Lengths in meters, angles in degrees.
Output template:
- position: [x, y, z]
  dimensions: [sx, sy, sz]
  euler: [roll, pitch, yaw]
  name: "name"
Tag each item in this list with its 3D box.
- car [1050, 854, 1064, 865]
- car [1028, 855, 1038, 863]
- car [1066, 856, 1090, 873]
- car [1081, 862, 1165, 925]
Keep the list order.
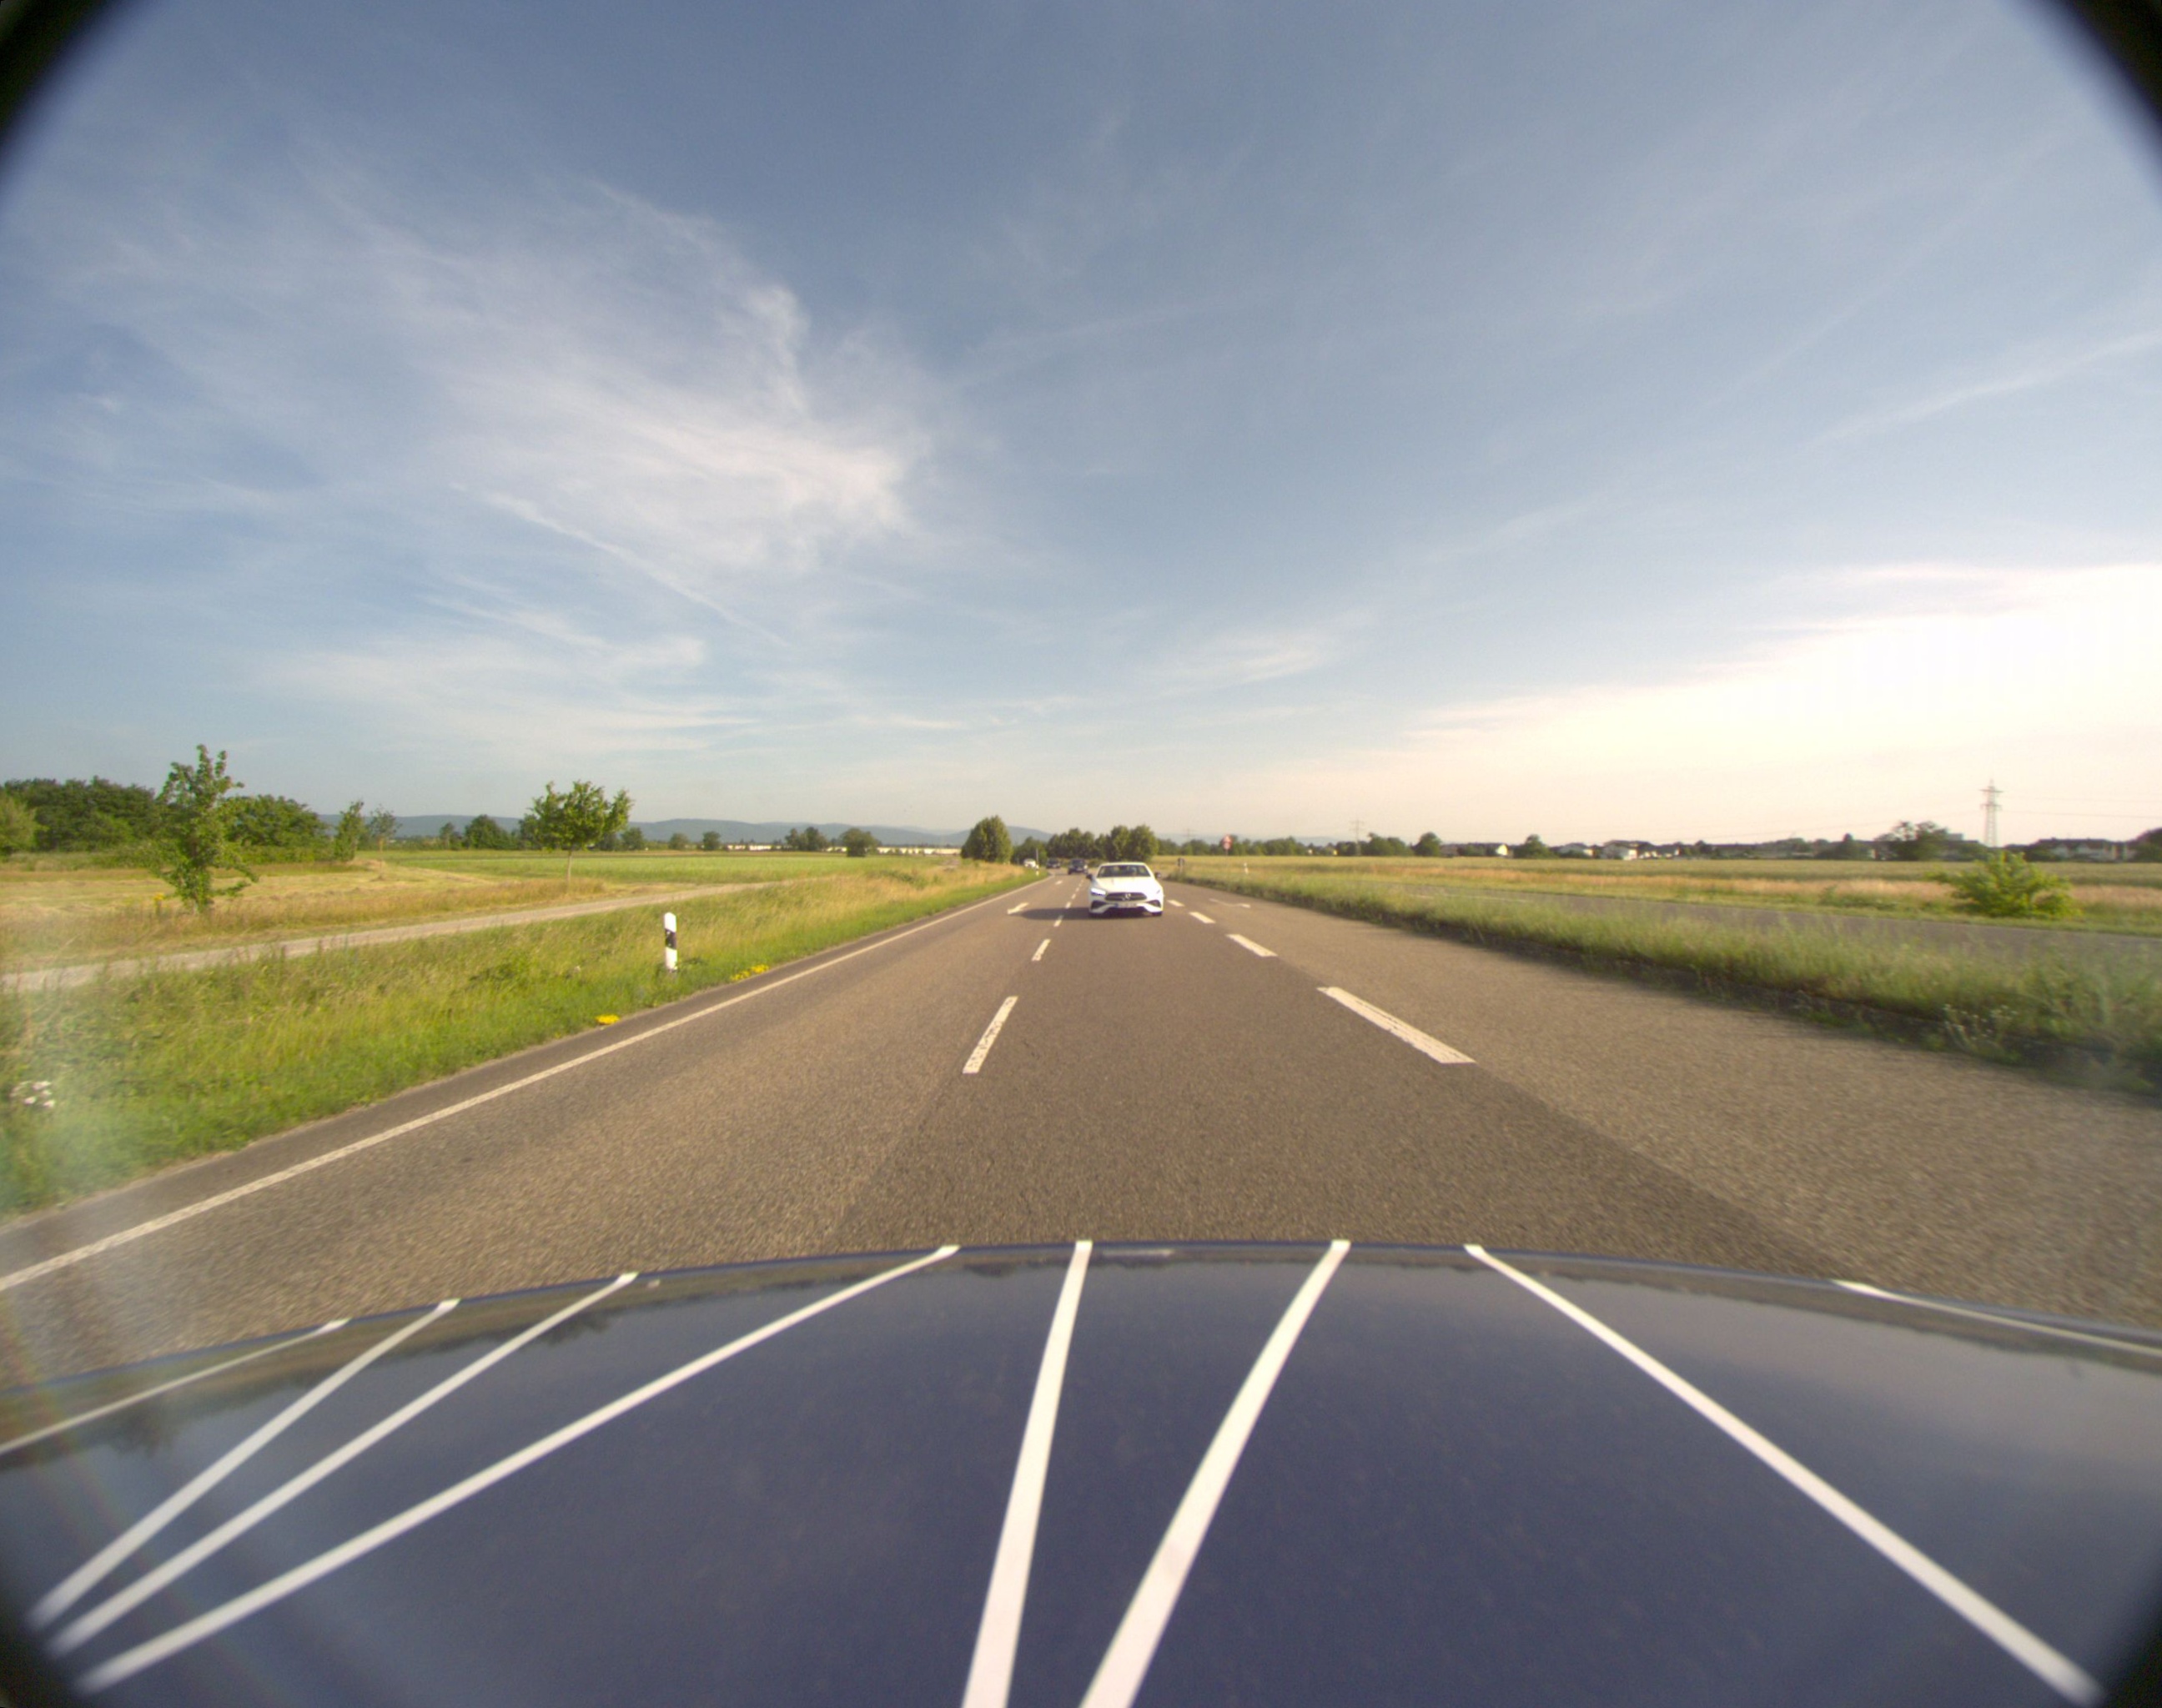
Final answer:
- position: [-3.497, 0.744, 110.338]
  dimensions: [1.558, 1.550, 3.046]
  euler: [-1, 0, -9]
  name: "car"
- position: [-9.060, 0.990, 143.096]
  dimensions: [1.558, 1.392, 4.032]
  euler: [-1, 0, -9]
  name: "car"
- position: [-0.294, 0.926, 70.772]
  dimensions: [1.586, 1.496, 3.658]
  euler: [-1, 0, -9]
  name: "car"
- position: [1.147, 0.973, 20.152]
  dimensions: [1.940, 1.389, 3.919]
  euler: [-2, 0, 4]
  name: "car"
